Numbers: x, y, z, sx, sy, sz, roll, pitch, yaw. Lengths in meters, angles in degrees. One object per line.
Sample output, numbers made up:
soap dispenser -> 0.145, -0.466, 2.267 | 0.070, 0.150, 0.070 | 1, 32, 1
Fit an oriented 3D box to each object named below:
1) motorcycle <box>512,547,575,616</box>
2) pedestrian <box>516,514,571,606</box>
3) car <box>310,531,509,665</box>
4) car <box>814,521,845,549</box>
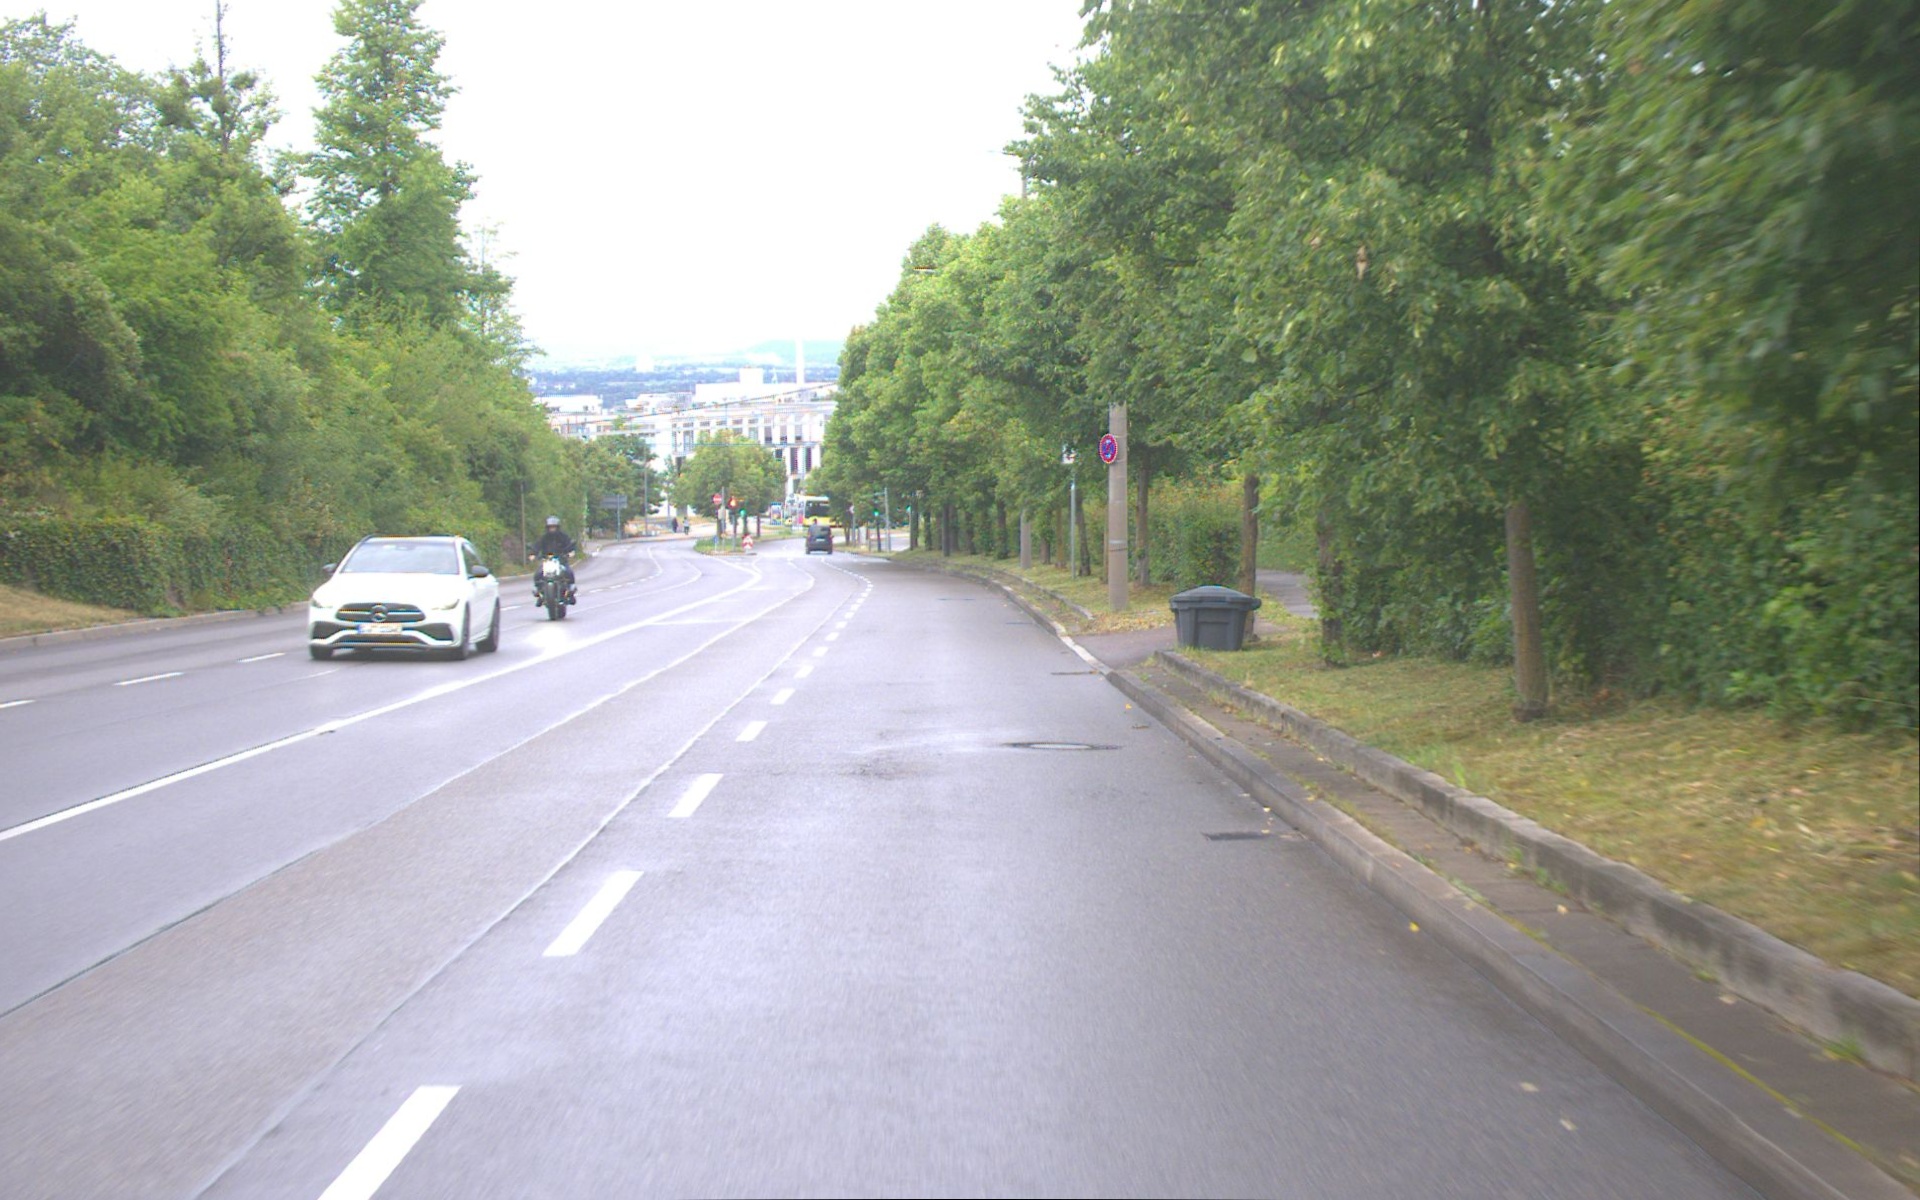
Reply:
motorcycle -> -7.034, -0.320, 58.121 | 0.805, 1.127, 2.231 | 0, 1, 0
pedestrian -> -7.033, -0.686, 58.134 | 0.805, 1.536, 1.111 | 0, 1, 0
car -> -6.633, -0.067, 41.845 | 1.715, 1.500, 4.517 | 1, 1, 0
car -> -8.299, -4.138, 218.870 | 1.849, 1.696, 3.793 | 1, 0, -3
